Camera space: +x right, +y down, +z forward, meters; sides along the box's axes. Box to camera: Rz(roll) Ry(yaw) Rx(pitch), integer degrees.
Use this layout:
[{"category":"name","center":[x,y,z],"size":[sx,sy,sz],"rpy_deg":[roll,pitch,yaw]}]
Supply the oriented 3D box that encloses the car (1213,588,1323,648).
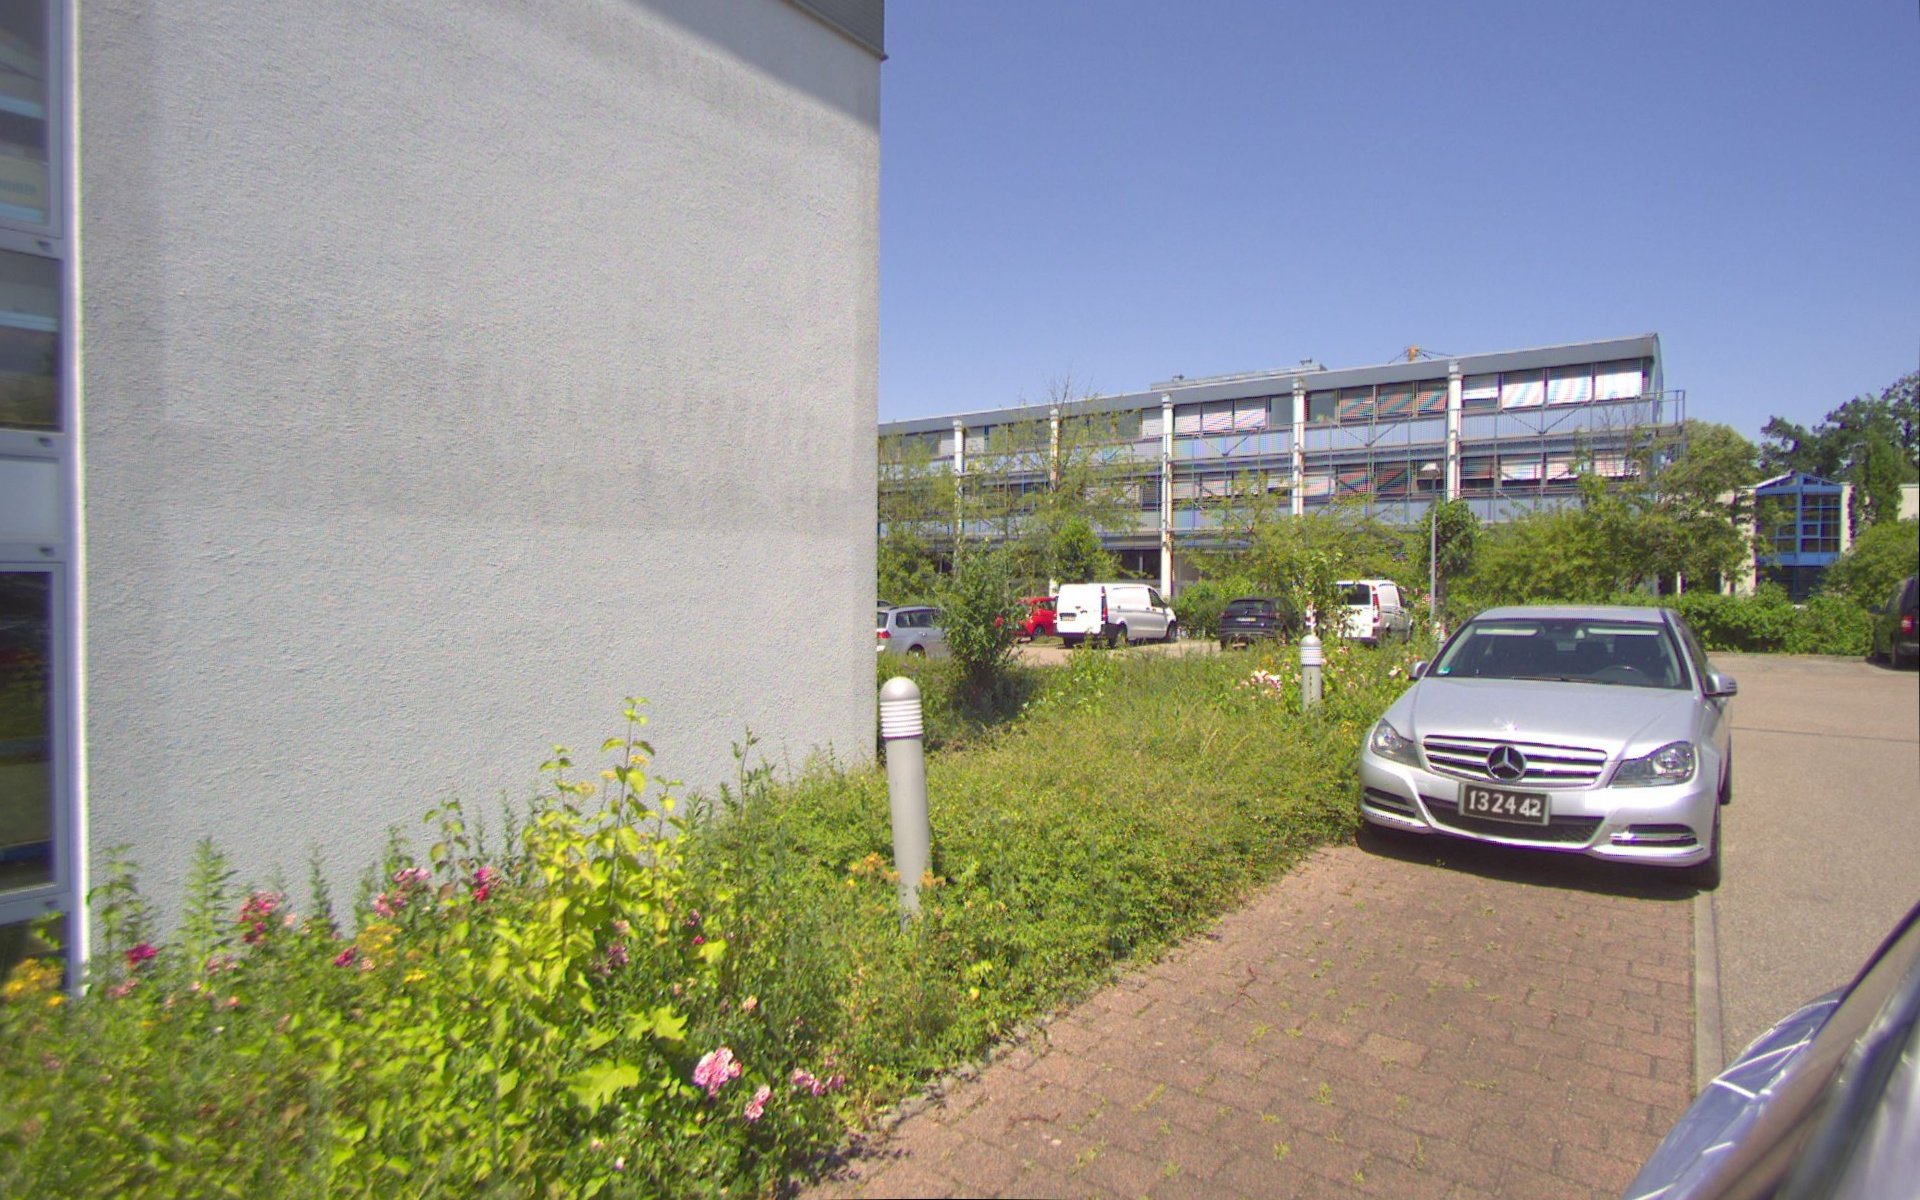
[{"category":"car","center":[8.715,0.448,28.390],"size":[1.729,1.502,4.144],"rpy_deg":[-1,1,35]}]

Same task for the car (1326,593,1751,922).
[{"category":"car","center":[4.111,0.688,6.788],"size":[1.796,1.415,4.357],"rpy_deg":[0,1,39]}]

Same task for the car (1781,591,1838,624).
[{"category":"car","center":[45.332,0.357,54.077],"size":[1.824,1.586,3.954],"rpy_deg":[0,2,33]}]

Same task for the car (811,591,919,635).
[{"category":"car","center":[-3.494,0.461,37.818],"size":[1.731,1.502,4.028],"rpy_deg":[-1,1,39]}]

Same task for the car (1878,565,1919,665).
[{"category":"car","center":[19.959,0.249,20.238],"size":[1.857,1.883,4.175],"rpy_deg":[-1,1,36]}]

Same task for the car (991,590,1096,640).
[{"category":"car","center":[2.810,0.456,33.446],"size":[1.616,1.506,3.868],"rpy_deg":[-1,1,38]}]

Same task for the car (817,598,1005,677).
[{"category":"car","center":[-0.973,0.737,22.340],"size":[1.845,1.539,4.370],"rpy_deg":[0,0,36]}]

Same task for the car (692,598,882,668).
[{"category":"car","center":[-4.034,0.714,24.331],"size":[1.845,1.513,4.553],"rpy_deg":[0,0,36]}]

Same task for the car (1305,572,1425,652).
[{"category":"car","center":[10.589,0.256,26.266],"size":[1.857,1.883,4.618],"rpy_deg":[-1,1,35]}]

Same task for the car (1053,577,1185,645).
[{"category":"car","center":[4.930,0.268,30.826],"size":[1.847,1.879,4.868],"rpy_deg":[-1,1,38]}]
